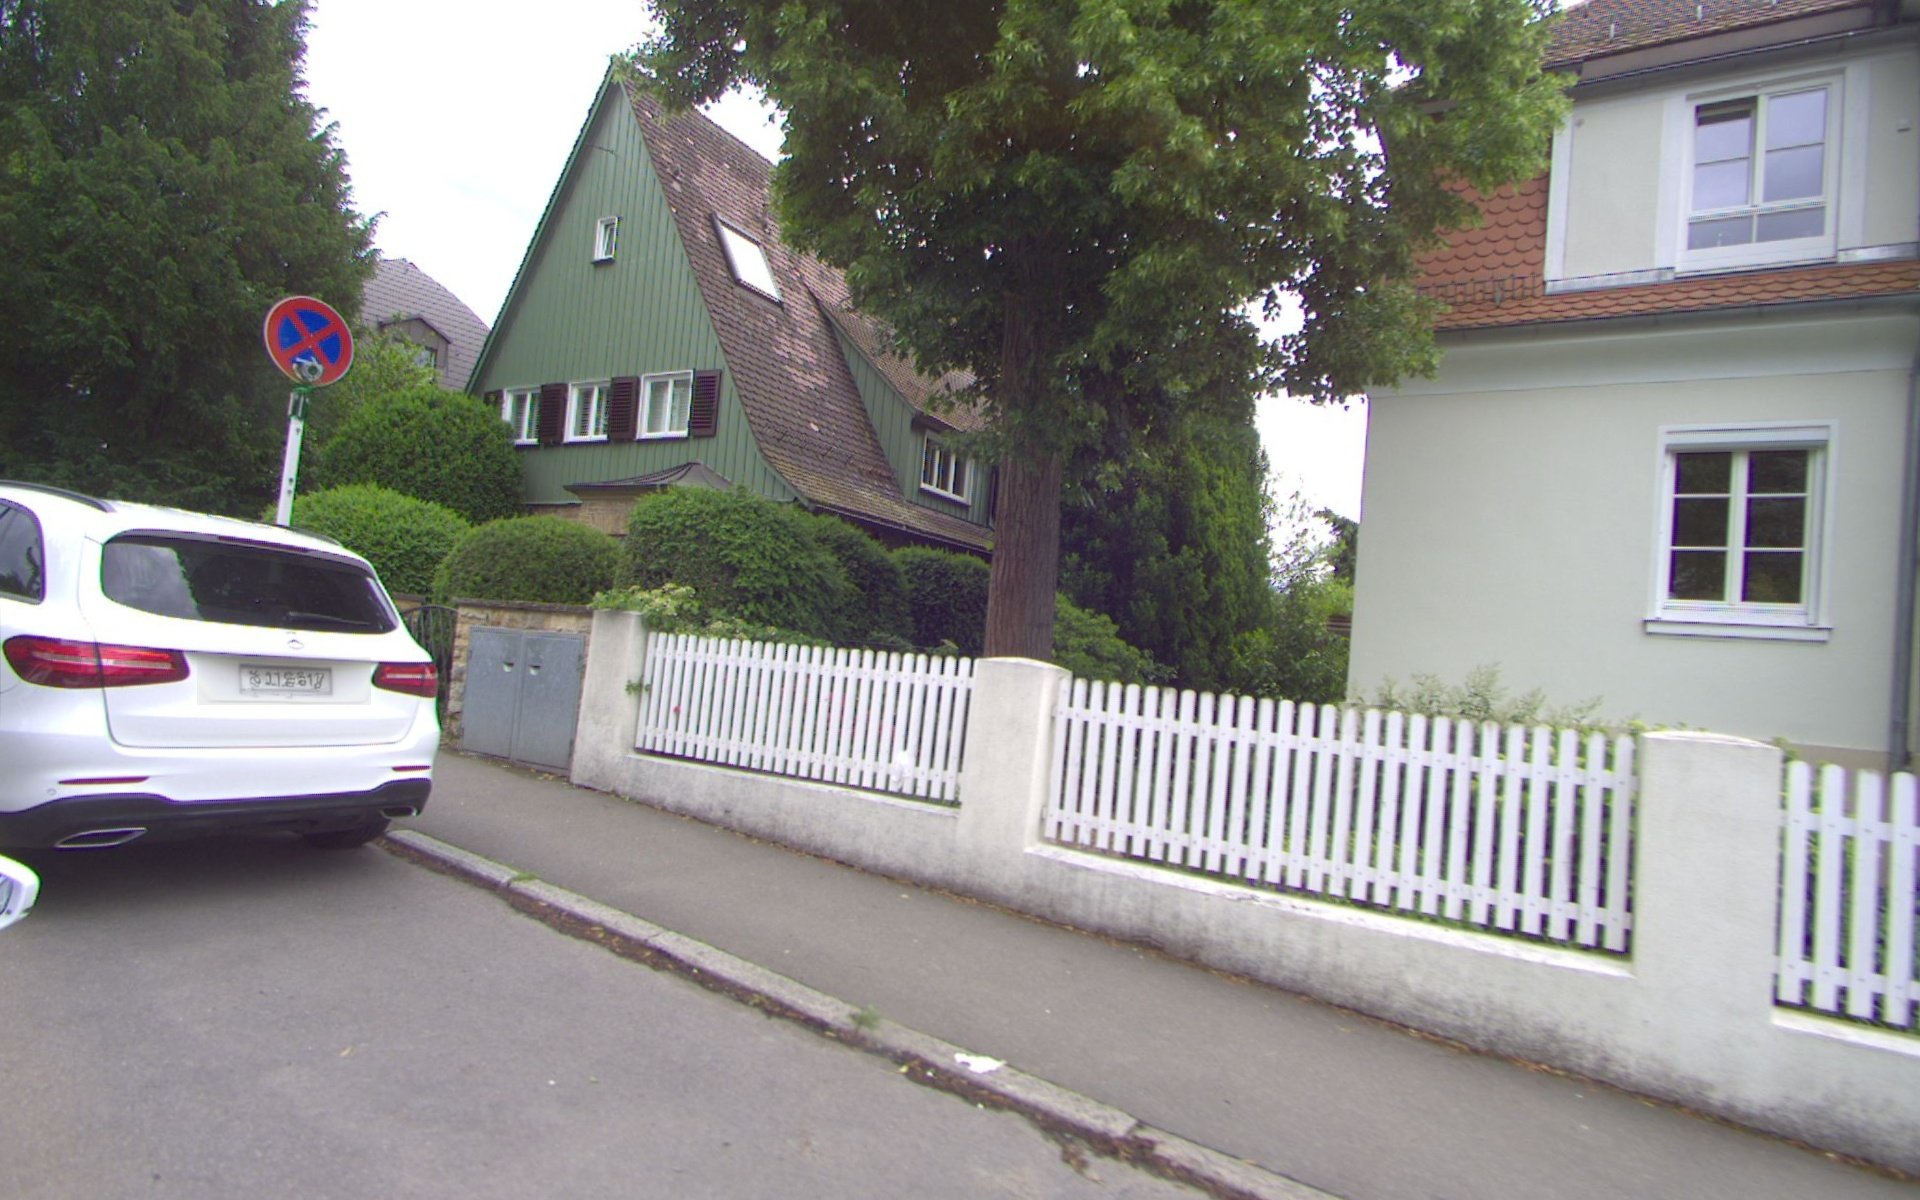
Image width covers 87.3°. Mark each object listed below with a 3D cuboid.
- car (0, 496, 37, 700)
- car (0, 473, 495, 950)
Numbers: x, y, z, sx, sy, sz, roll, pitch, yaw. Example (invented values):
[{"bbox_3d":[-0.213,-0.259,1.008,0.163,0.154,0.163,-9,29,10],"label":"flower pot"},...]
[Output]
[{"bbox_3d":[-9.640,-0.270,8.289,4.236,1.589,1.702,6,-2,30],"label":"car"},{"bbox_3d":[-4.782,0.270,5.257,4.496,1.623,1.763,6,-3,28],"label":"car"}]
